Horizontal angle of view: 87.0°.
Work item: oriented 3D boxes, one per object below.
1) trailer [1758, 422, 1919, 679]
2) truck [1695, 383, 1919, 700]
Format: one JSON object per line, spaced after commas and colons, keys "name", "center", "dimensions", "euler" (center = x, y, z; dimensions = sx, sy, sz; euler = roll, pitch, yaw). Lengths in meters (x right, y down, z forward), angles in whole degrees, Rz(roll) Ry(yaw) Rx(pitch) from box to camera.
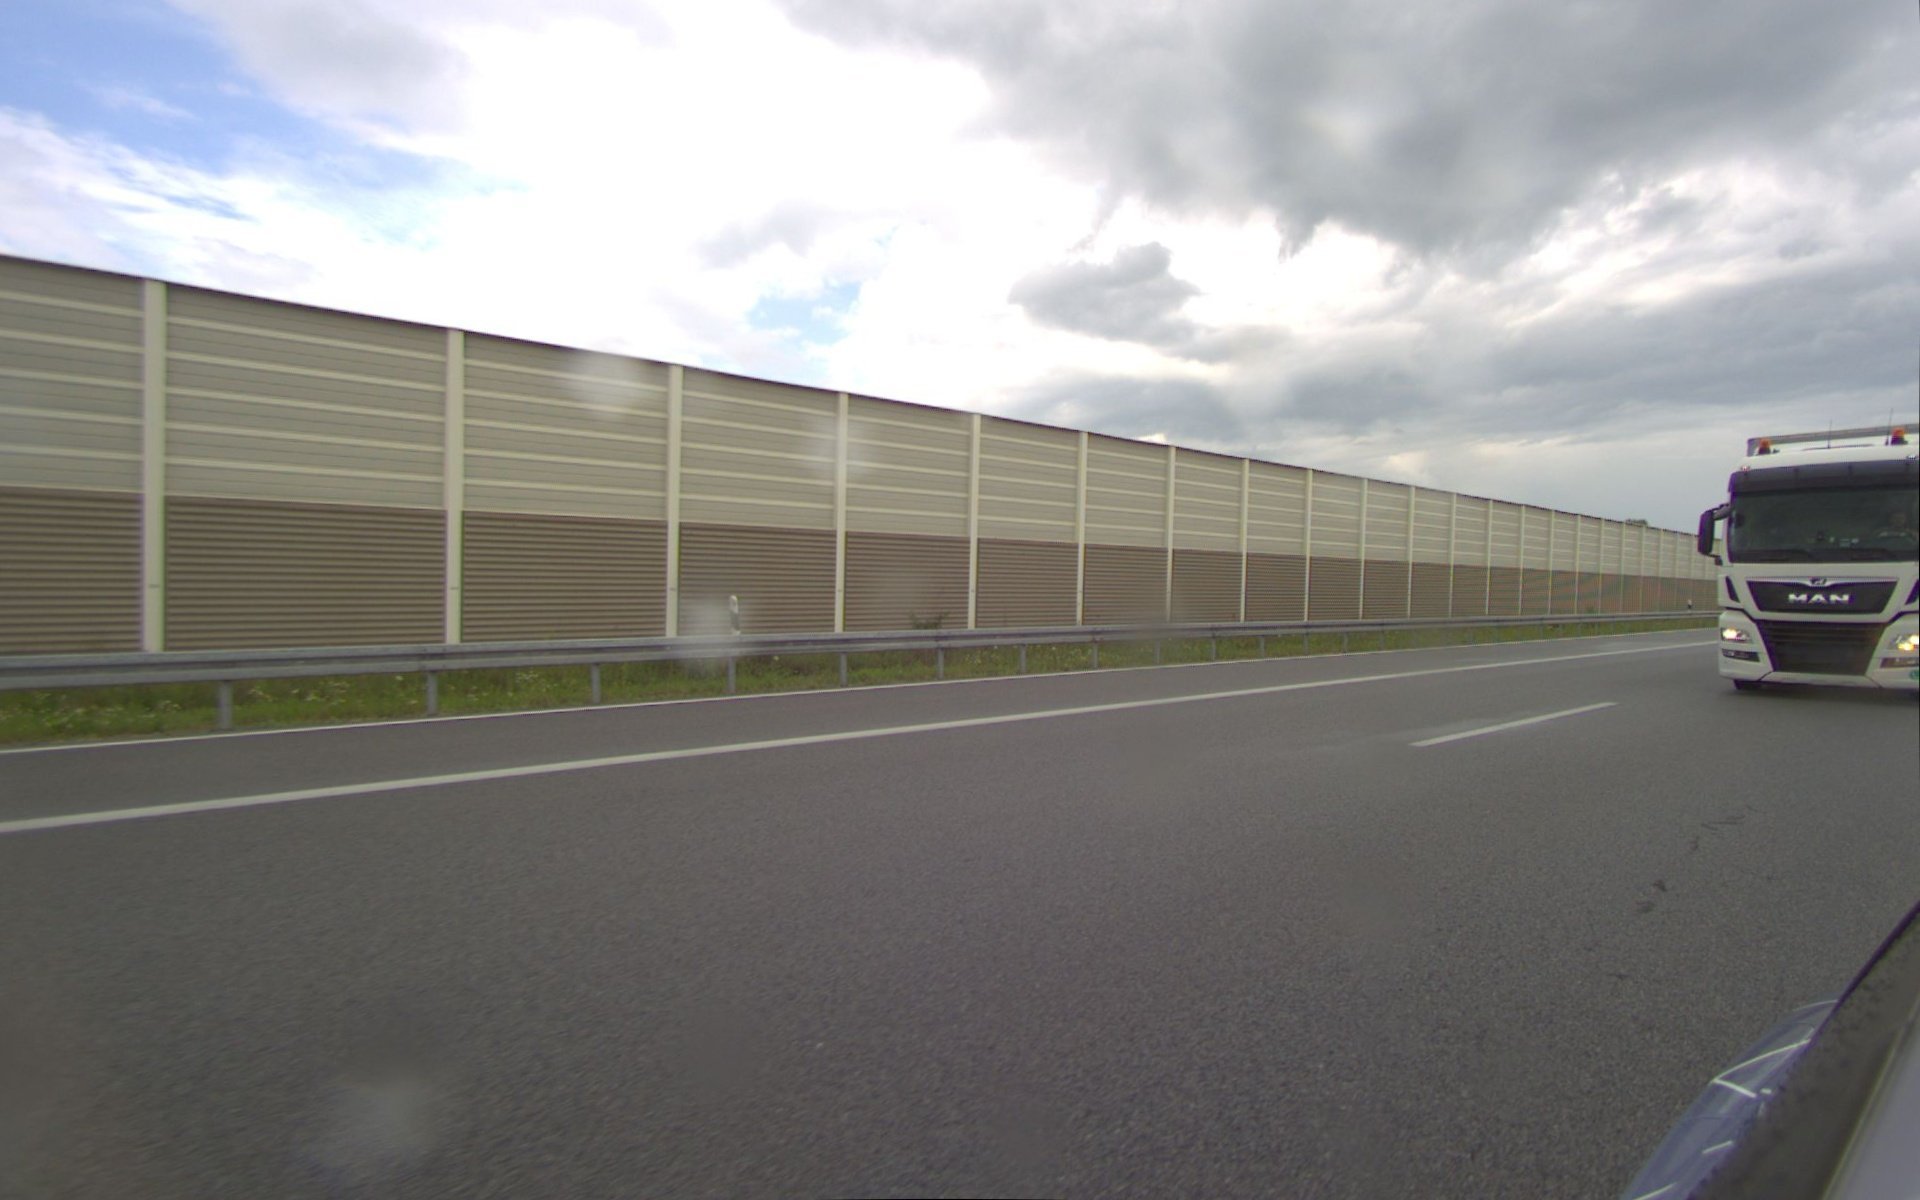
{"name": "trailer", "center": [20.297, -0.896, 21.684], "dimensions": [12.971, 4.266, 2.922], "euler": [-1, 0, -42]}
{"name": "truck", "center": [13.997, -0.803, 15.954], "dimensions": [5.104, 4.223, 2.910], "euler": [0, 0, -42]}
